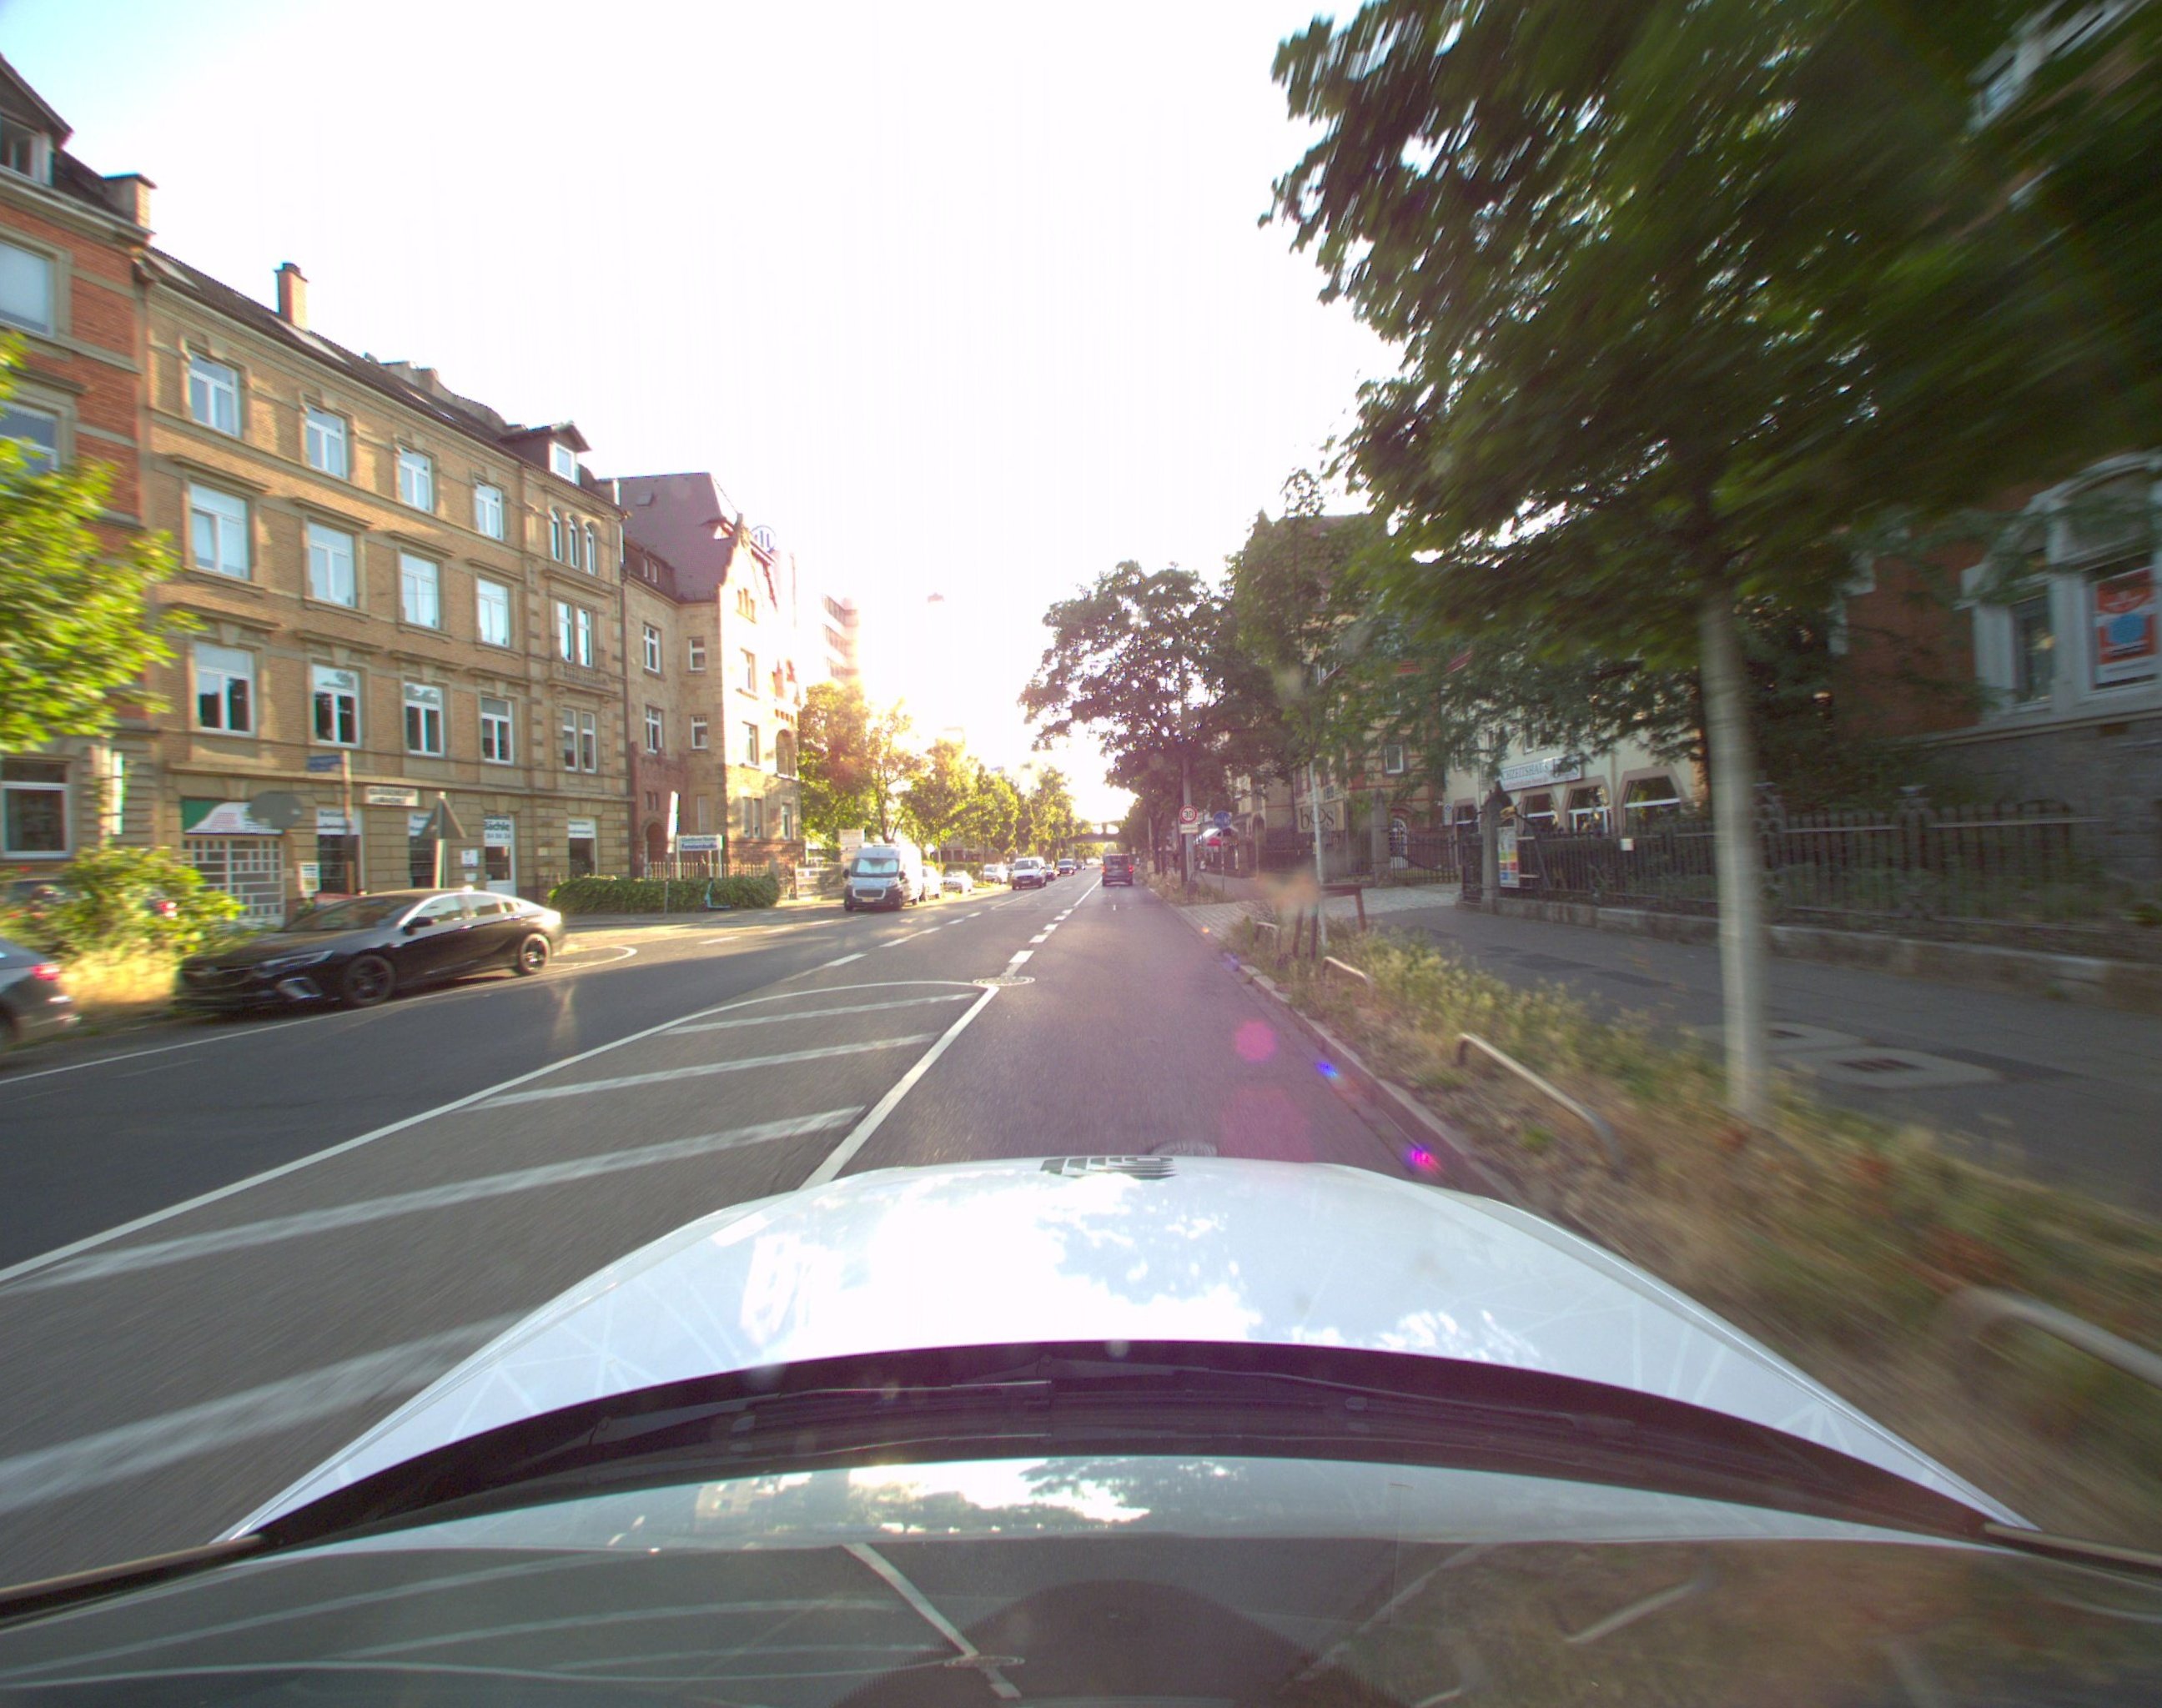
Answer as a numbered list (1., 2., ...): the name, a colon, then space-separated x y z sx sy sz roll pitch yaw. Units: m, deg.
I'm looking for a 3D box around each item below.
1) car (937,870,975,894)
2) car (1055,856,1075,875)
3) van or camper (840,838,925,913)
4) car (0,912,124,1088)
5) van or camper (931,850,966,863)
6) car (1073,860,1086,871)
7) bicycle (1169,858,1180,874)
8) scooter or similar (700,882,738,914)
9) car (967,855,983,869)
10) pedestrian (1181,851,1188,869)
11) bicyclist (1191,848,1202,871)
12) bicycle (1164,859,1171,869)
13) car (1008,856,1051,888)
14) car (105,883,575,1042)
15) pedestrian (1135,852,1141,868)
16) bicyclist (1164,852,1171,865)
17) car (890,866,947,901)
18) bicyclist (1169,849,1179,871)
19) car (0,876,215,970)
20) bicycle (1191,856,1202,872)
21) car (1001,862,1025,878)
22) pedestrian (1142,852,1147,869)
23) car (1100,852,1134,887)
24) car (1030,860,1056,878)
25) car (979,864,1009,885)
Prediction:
1. car: -7.086 1.566 46.396 1.530 1.248 3.615 -1 0 1
2. car: -1.657 1.232 87.778 1.826 1.852 4.475 -4 0 1
3. van or camper: -7.683 0.780 32.170 1.988 2.668 6.034 -1 0 -2
4. car: -10.176 1.319 5.527 1.729 1.445 4.627 -3 0 2
5. van or camper: -26.707 0.522 163.763 6.540 2.522 2.449 -1 0 0
6. car: -0.238 1.853 130.695 1.672 1.530 4.003 -5 0 2
7. bicycle: 6.399 0.793 55.831 0.542 1.040 2.090 -1 0 2
8. scooter or similar: -12.776 1.552 28.764 0.285 1.057 1.124 -4 0 45
9. car: -18.912 1.388 145.450 1.985 2.307 5.248 -1 0 3
10. pedestrian: 9.548 0.528 75.121 0.642 1.633 0.656 -1 0 2
11. bicyclist: 7.740 0.346 54.729 0.593 1.532 0.894 -1 0 2
12. bicycle: 8.263 0.924 77.744 0.577 0.897 1.988 -1 0 3
13. car: -3.216 1.093 52.051 1.985 1.831 5.174 -4 0 3
14. car: -9.688 1.287 11.409 1.986 1.483 4.831 -3 0 2
15. pedestrian: 6.638 0.735 95.234 0.505 1.889 0.543 -1 0 -12
16. bicyclist: 8.249 0.423 77.760 0.583 1.236 1.112 -1 0 2
17. car: -7.738 1.377 39.173 1.740 1.535 4.304 -1 0 1
18. bicyclist: 6.389 0.409 55.715 0.593 1.532 0.894 -1 0 2
19. car: -19.905 1.341 15.268 1.975 1.537 4.589 -4 0 26
20. bicycle: 7.751 0.694 54.731 0.515 1.040 2.090 -1 0 2
21. car: -6.139 1.444 73.787 1.632 1.385 4.001 -1 0 1
22. pedestrian: 7.384 0.757 94.787 0.505 1.889 0.543 -1 0 -12
23. car: 2.246 0.905 50.215 1.879 1.925 3.843 -3 0 3
24. car: -3.213 1.255 69.088 1.752 1.386 4.307 -4 0 2
25. car: -6.510 1.513 61.247 1.690 1.451 4.001 -1 0 1
